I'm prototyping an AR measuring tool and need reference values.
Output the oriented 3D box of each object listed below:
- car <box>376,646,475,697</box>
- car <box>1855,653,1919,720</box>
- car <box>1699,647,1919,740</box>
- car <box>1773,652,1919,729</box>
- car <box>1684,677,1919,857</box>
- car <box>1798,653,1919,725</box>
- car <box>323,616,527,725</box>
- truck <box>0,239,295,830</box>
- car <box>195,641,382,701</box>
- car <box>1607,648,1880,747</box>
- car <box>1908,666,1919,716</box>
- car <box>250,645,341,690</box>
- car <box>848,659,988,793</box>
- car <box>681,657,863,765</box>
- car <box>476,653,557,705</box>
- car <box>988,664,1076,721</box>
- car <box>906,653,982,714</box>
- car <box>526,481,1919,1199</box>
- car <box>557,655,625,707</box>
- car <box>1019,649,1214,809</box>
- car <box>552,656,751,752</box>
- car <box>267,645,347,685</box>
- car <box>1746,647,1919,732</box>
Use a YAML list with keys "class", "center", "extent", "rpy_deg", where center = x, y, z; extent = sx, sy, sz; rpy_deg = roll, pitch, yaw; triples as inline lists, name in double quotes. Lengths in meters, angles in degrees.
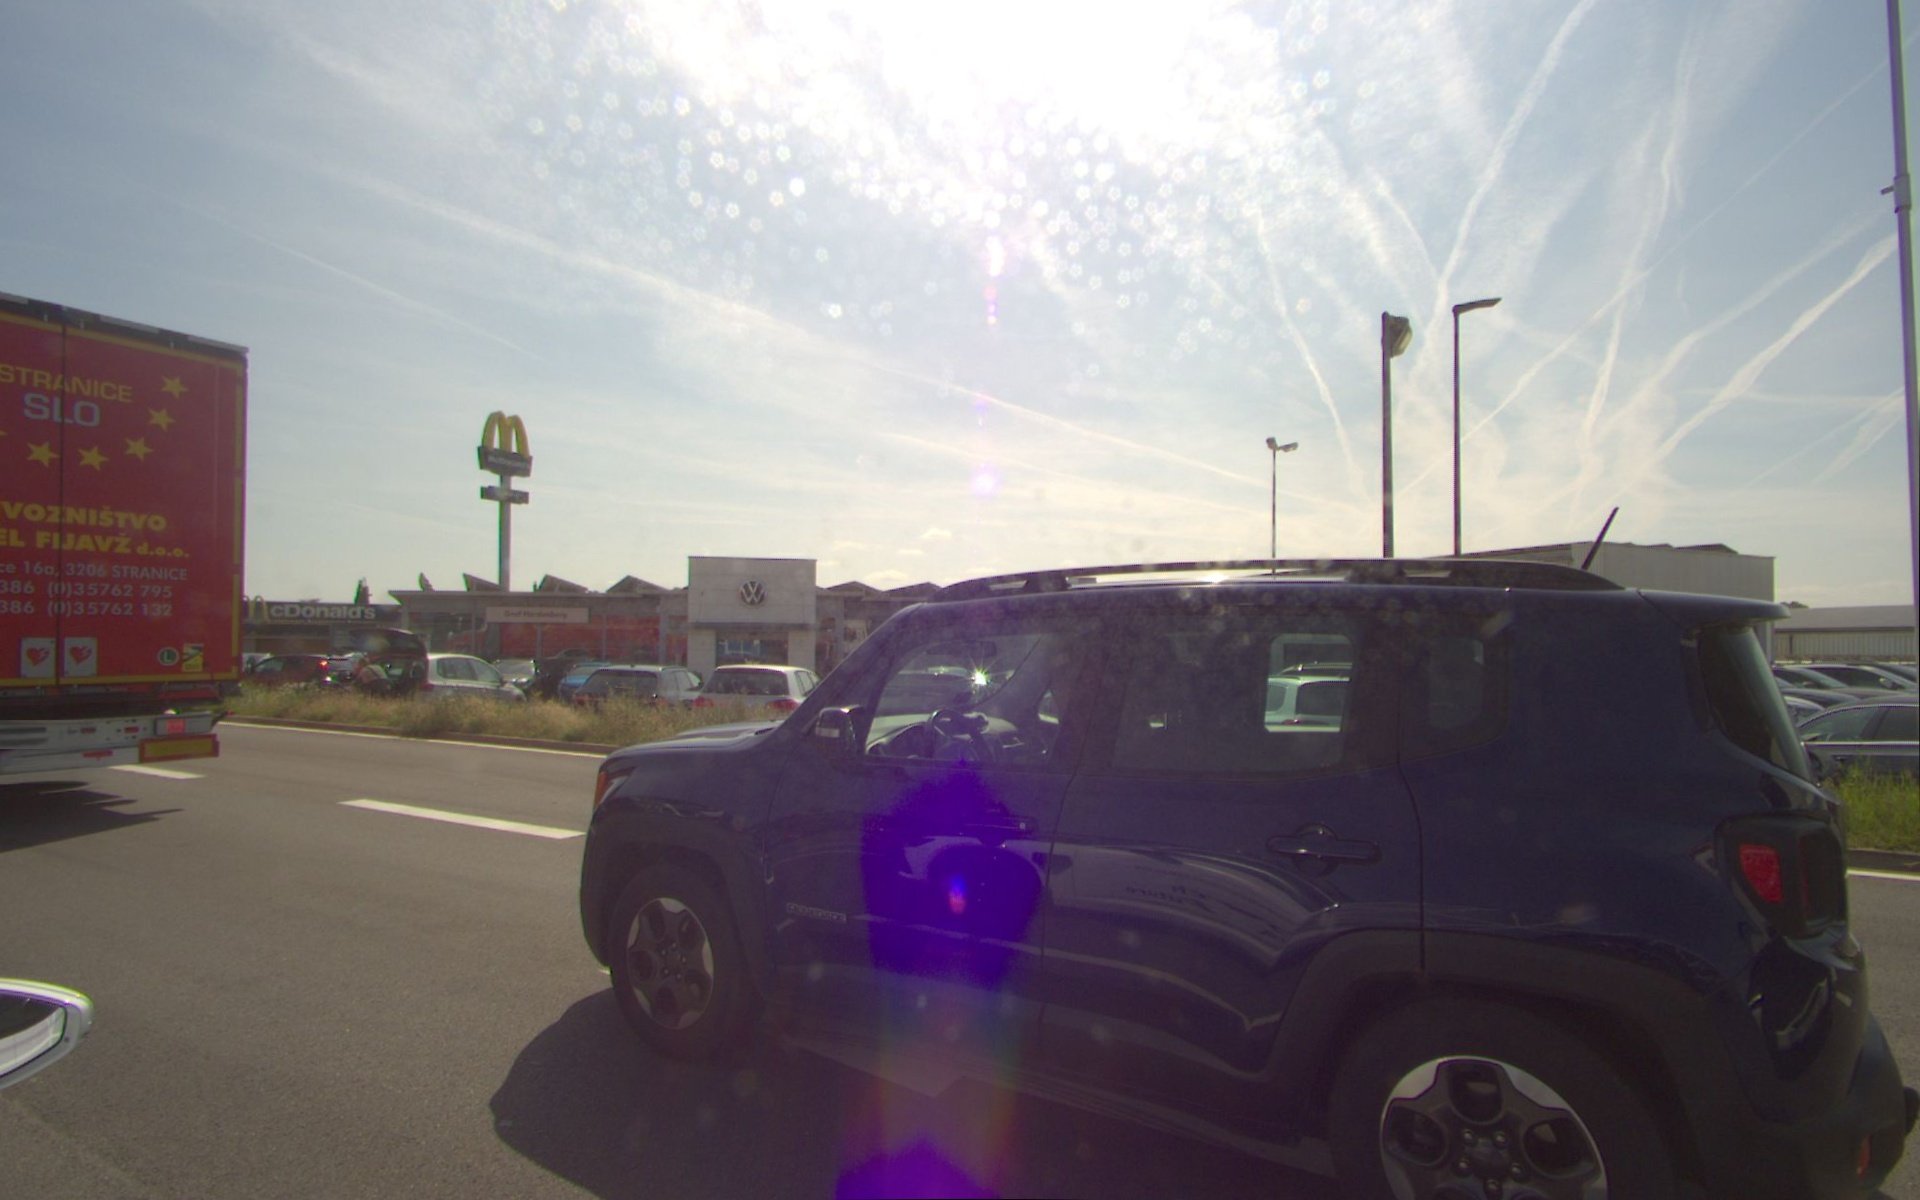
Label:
- class: "car"
  center: [-17.433, 2.298, 32.861]
  extent: [1.964, 1.550, 3.996]
  rpy_deg: [1, -2, -15]
- class: "car"
  center: [27.164, 2.367, 26.985]
  extent: [1.882, 1.777, 4.209]
  rpy_deg: [2, -3, -32]
- class: "car"
  center: [19.098, 1.985, 22.052]
  extent: [1.960, 1.812, 4.202]
  rpy_deg: [2, -3, -37]
- class: "car"
  center: [23.018, 2.204, 24.731]
  extent: [1.882, 1.777, 4.209]
  rpy_deg: [2, -3, -32]
- class: "car"
  center: [8.986, 1.501, 9.069]
  extent: [1.705, 1.420, 4.350]
  rpy_deg: [1, -2, 0]
- class: "car"
  center: [24.803, 2.305, 26.073]
  extent: [1.882, 1.777, 4.209]
  rpy_deg: [2, -3, -32]
- class: "car"
  center: [-10.482, 1.337, 19.958]
  extent: [1.669, 1.945, 3.848]
  rpy_deg: [0, -2, 6]
- class: "truck"
  center: [-13.752, -0.357, 12.003]
  extent: [16.342, 4.324, 2.953]
  rpy_deg: [-1, -2, 31]
- class: "car"
  center: [-18.851, 1.973, 28.226]
  extent: [3.922, 1.550, 2.001]
  rpy_deg: [1, -2, 2]
- class: "car"
  center: [16.381, 1.957, 21.132]
  extent: [1.960, 1.812, 4.202]
  rpy_deg: [2, -3, -37]
- class: "car"
  center: [29.340, 2.613, 27.921]
  extent: [1.688, 1.438, 3.975]
  rpy_deg: [2, -3, -34]
- class: "car"
  center: [-24.214, 2.427, 36.620]
  extent: [1.656, 1.550, 3.593]
  rpy_deg: [1, -2, -15]
- class: "car"
  center: [-0.522, 1.671, 14.372]
  extent: [1.705, 1.555, 4.040]
  rpy_deg: [1, -2, 0]
- class: "car"
  center: [-2.824, 1.651, 15.880]
  extent: [1.670, 1.417, 3.847]
  rpy_deg: [0, -2, 8]
- class: "car"
  center: [-14.594, 2.567, 33.165]
  extent: [1.771, 1.550, 4.223]
  rpy_deg: [1, -2, -15]
- class: "car"
  center: [2.158, 2.821, 31.112]
  extent: [1.706, 1.555, 4.036]
  rpy_deg: [1, -2, -11]
- class: "car"
  center: [-0.560, 2.642, 31.072]
  extent: [1.706, 1.551, 3.771]
  rpy_deg: [1, -10, -11]
- class: "car"
  center: [0.494, 0.692, 3.515]
  extent: [3.943, 1.707, 1.816]
  rpy_deg: [-1, -1, 32]
- class: "car"
  center: [-12.280, 2.652, 33.489]
  extent: [1.671, 1.577, 3.783]
  rpy_deg: [1, -2, -13]
- class: "car"
  center: [1.698, 1.399, 12.113]
  extent: [1.705, 1.555, 4.040]
  rpy_deg: [1, -2, 0]
- class: "car"
  center: [-5.291, 1.745, 17.719]
  extent: [1.670, 1.417, 3.845]
  rpy_deg: [0, -2, 13]
- class: "car"
  center: [-26.627, 2.635, 40.944]
  extent: [1.656, 1.550, 3.593]
  rpy_deg: [1, -2, -15]
- class: "car"
  center: [21.118, 2.029, 23.228]
  extent: [1.960, 1.812, 4.202]
  rpy_deg: [2, -3, -37]
